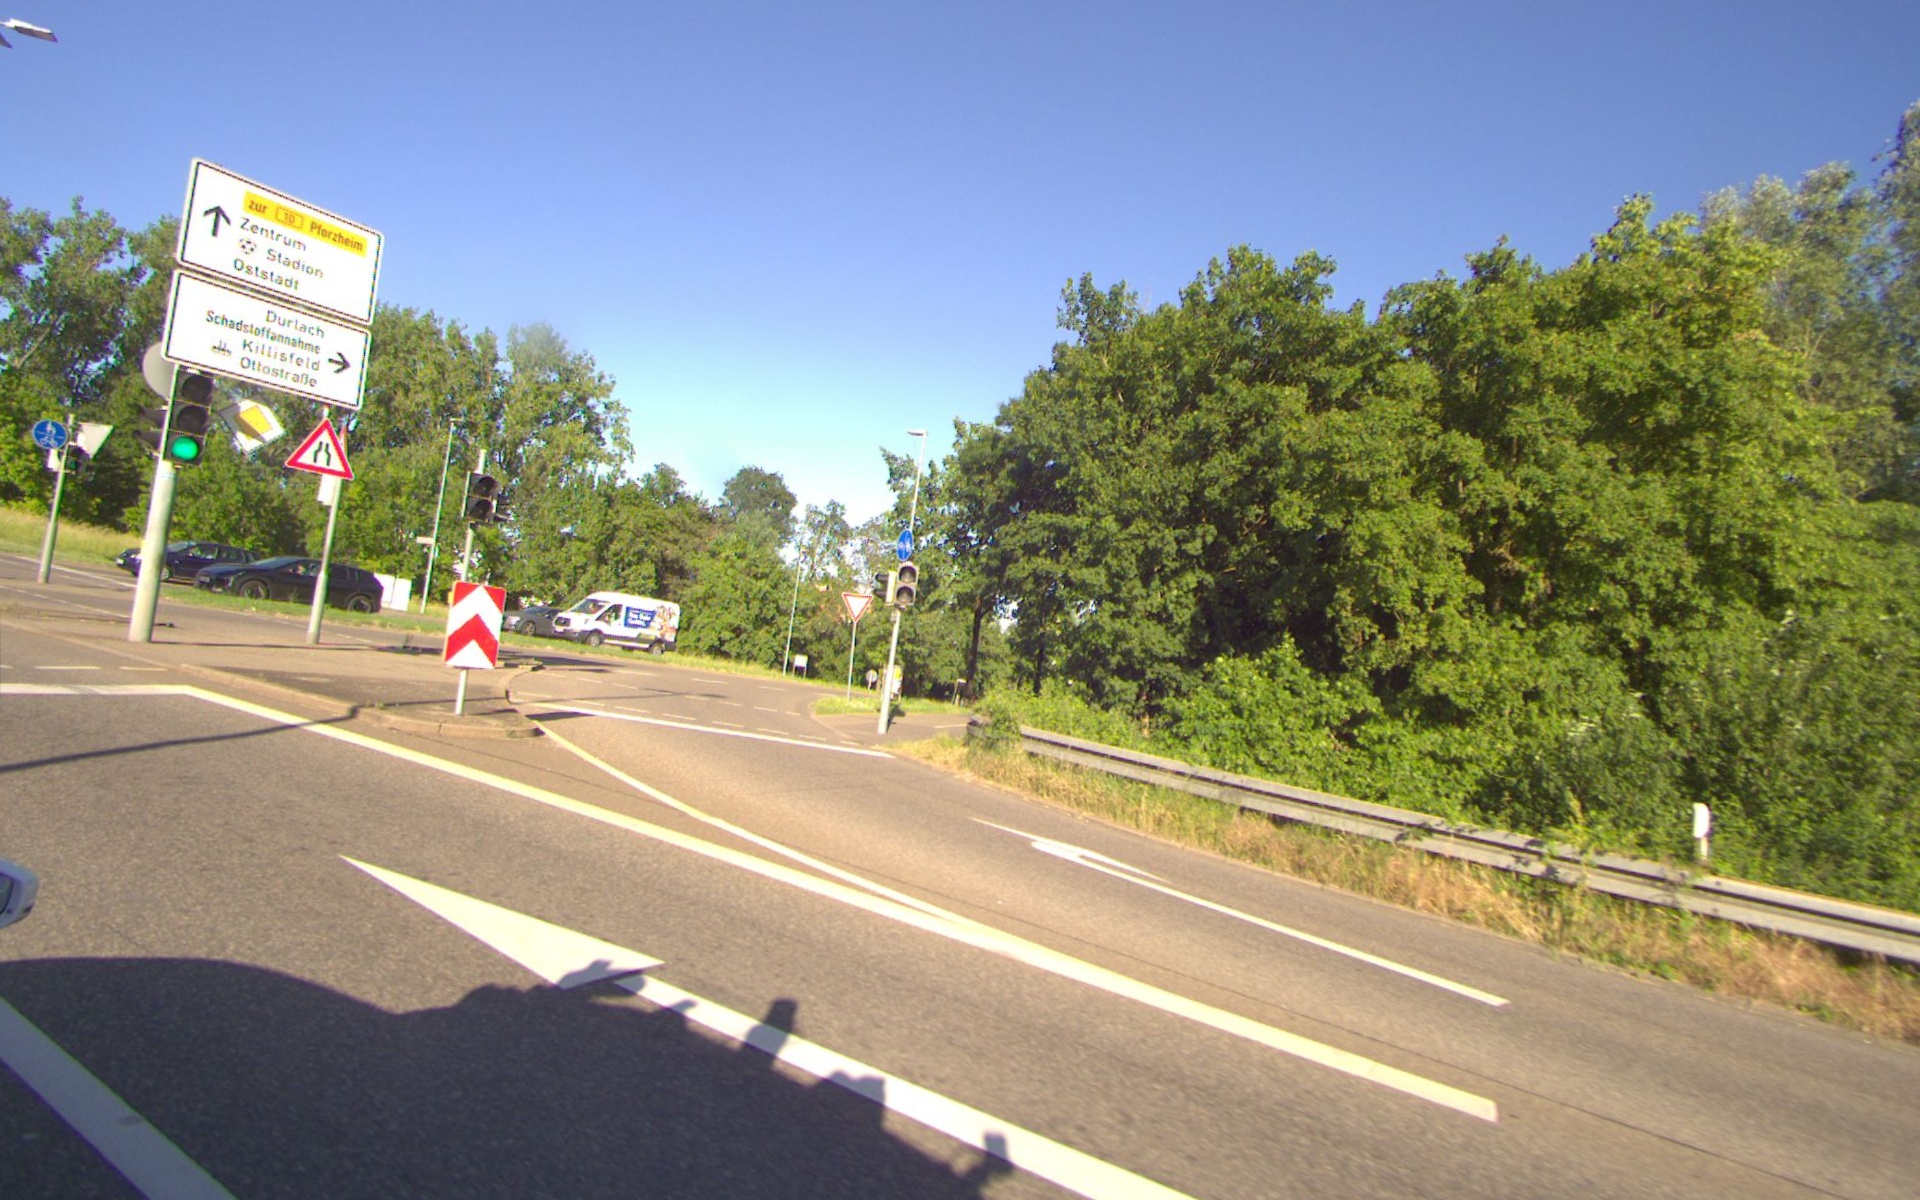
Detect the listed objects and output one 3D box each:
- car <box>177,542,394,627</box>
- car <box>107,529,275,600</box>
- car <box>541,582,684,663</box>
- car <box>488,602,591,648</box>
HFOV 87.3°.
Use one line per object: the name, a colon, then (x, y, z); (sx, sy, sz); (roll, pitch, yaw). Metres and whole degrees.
car: (-18.627, -0.378, 28.005); (1.966, 1.479, 4.474); (7, -4, 30)
car: (-24.411, -1.089, 32.063); (1.666, 1.417, 3.759); (9, -4, 32)
car: (-14.410, 0.993, 42.056); (2.073, 2.432, 5.290); (7, -6, 30)
car: (-18.061, 1.116, 43.355); (1.585, 1.401, 3.698); (6, -5, 36)
